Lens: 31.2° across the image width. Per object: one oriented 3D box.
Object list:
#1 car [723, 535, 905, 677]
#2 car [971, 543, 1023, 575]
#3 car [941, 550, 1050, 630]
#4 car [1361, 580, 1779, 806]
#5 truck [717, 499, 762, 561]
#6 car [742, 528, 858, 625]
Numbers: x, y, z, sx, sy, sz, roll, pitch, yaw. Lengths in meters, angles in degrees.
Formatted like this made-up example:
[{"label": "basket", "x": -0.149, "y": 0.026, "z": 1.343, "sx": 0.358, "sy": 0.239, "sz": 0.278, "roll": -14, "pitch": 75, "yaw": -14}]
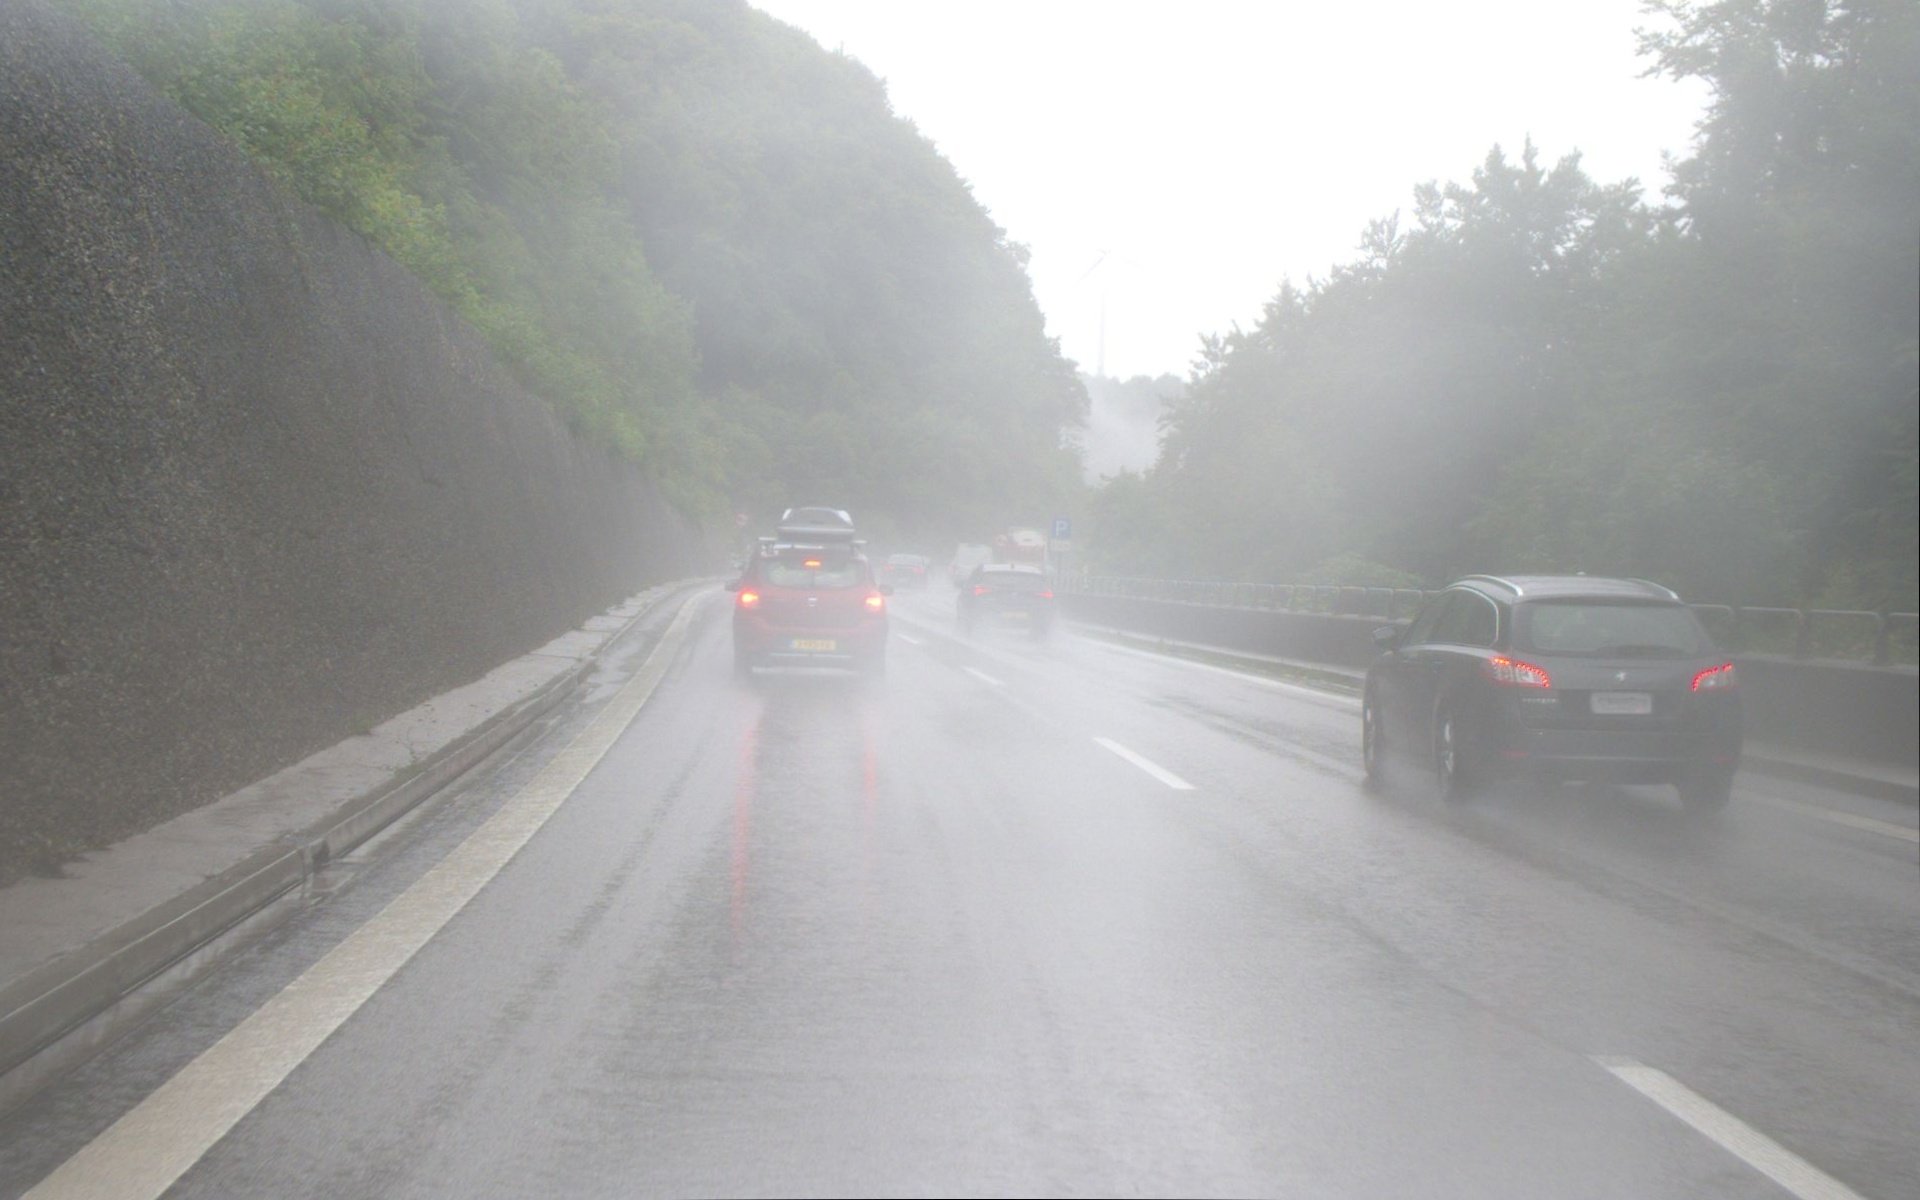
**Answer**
[{"label": "car", "x": -1.682, "y": 0.065, "z": 39.744, "sx": 1.993, "sy": 1.547, "sz": 4.000, "roll": 0, "pitch": 0, "yaw": -2}, {"label": "car", "x": 2.310, "y": -2.558, "z": 215.125, "sx": 2.448, "sy": 2.007, "sz": 4.737, "roll": 0, "pitch": 1, "yaw": -10}, {"label": "car", "x": 0.682, "y": -0.231, "z": 69.575, "sx": 1.993, "sy": 1.546, "sz": 4.000, "roll": 1, "pitch": 1, "yaw": -2}, {"label": "car", "x": 3.848, "y": 0.538, "z": 22.358, "sx": 1.800, "sy": 1.303, "sz": 4.001, "roll": 0, "pitch": 1, "yaw": -3}, {"label": "truck", "x": -9.968, "y": -3.142, "z": 155.750, "sx": 1.993, "sy": 2.741, "sz": 5.587, "roll": 0, "pitch": 1, "yaw": -4}, {"label": "car", "x": -2.904, "y": -0.403, "z": 63.098, "sx": 1.993, "sy": 1.678, "sz": 4.000, "roll": 1, "pitch": 0, "yaw": -1}]
